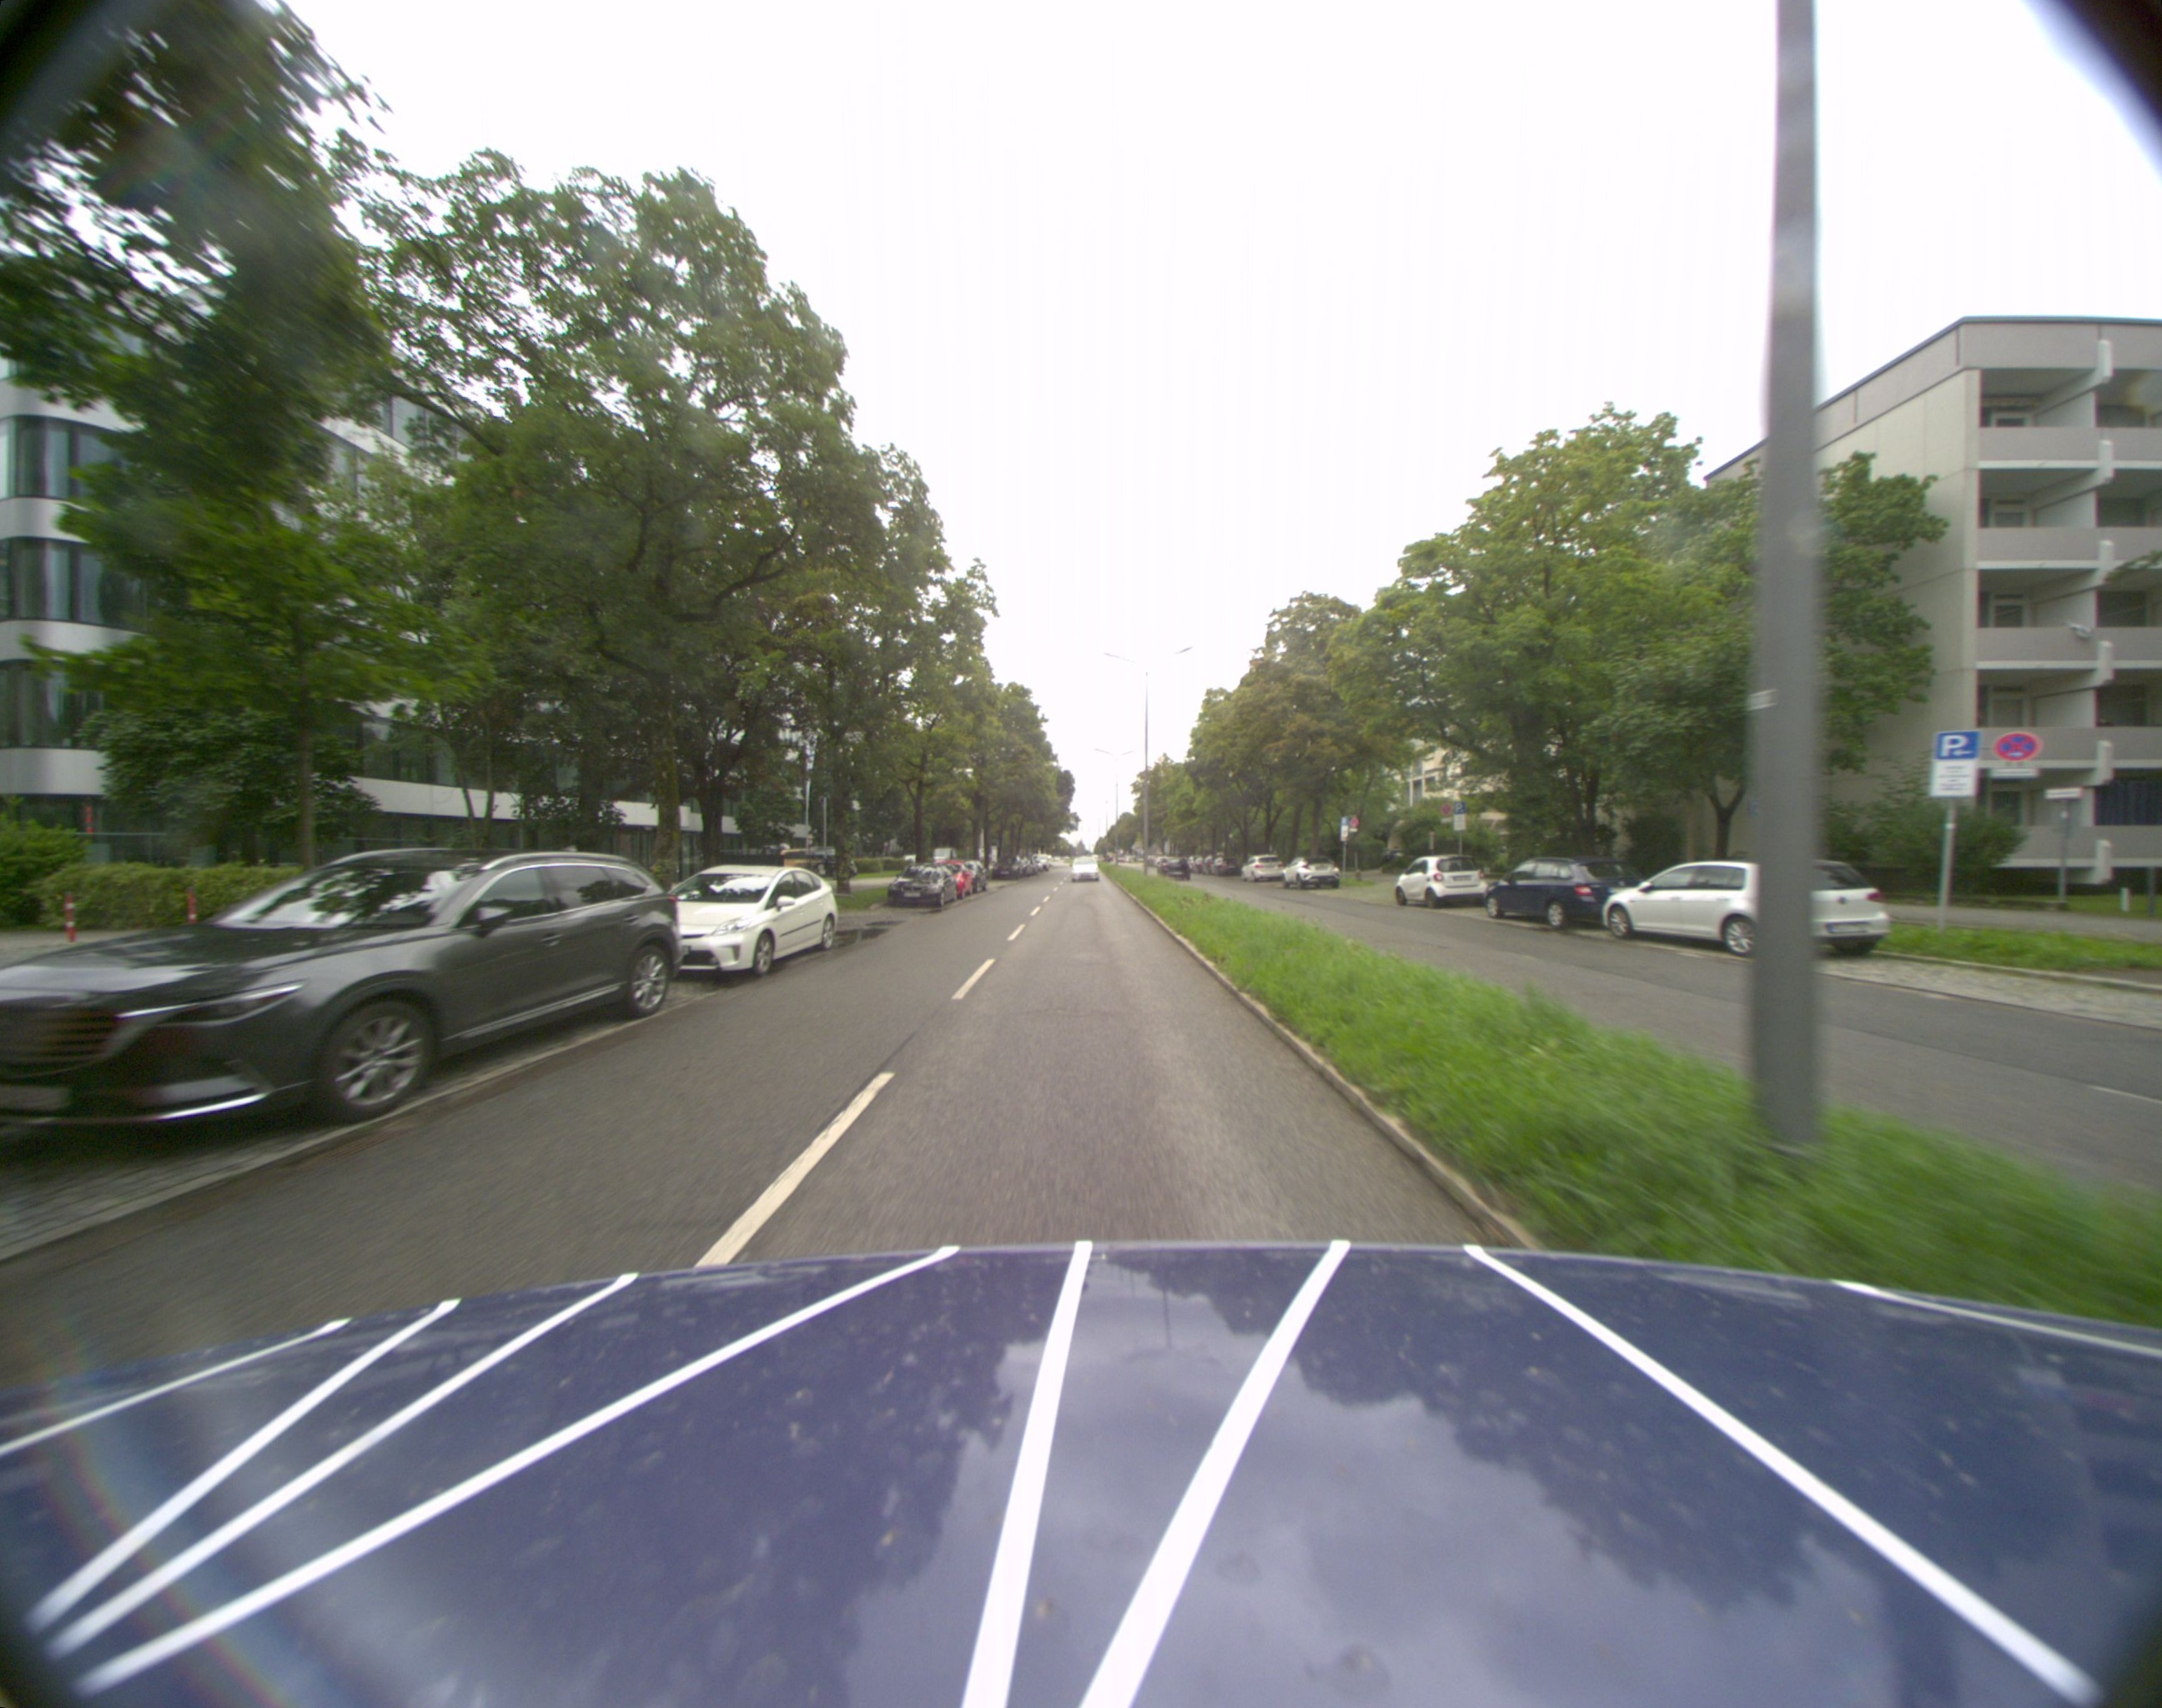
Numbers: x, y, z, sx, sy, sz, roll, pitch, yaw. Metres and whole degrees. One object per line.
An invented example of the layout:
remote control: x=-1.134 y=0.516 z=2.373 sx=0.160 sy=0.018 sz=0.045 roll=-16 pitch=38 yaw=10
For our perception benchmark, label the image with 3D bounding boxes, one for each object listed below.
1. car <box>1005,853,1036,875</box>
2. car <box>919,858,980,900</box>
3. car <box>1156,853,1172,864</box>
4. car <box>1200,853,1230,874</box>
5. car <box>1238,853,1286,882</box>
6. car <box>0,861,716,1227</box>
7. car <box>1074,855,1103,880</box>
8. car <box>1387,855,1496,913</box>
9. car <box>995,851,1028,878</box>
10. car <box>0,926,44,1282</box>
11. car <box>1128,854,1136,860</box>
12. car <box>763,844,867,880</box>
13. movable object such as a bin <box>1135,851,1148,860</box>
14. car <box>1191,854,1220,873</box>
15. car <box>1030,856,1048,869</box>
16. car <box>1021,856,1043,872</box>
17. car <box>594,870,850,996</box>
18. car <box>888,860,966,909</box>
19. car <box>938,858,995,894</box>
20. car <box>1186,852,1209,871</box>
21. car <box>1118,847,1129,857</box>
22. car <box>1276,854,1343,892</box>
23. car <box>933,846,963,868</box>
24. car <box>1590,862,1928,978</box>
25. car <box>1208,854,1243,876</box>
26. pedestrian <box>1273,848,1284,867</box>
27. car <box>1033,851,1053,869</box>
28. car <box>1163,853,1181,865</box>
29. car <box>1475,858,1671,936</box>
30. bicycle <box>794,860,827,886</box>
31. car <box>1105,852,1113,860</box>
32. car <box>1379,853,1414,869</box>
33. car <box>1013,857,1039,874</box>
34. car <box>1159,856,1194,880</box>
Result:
car: x=-4.757 y=0.790 z=60.181 sx=1.817 sy=1.666 sz=4.800 roll=0 pitch=0 yaw=3
car: x=-5.214 y=0.953 z=30.567 sx=1.679 sy=1.492 sz=4.021 roll=1 pitch=0 yaw=0
car: x=11.586 y=0.643 z=106.413 sx=1.743 sy=1.521 sz=4.475 roll=-2 pitch=0 yaw=1
car: x=11.021 y=0.734 z=62.628 sx=1.689 sy=1.587 sz=4.210 roll=-3 pitch=0 yaw=1
car: x=10.837 y=0.785 z=45.802 sx=1.761 sy=1.585 sz=4.489 roll=-3 pitch=0 yaw=-1
car: x=-5.216 y=0.958 z=6.331 sx=1.765 sy=1.688 sz=5.230 roll=1 pitch=0 yaw=0
car: x=0.459 y=0.812 z=46.521 sx=1.679 sy=1.433 sz=3.734 roll=0 pitch=0 yaw=1
car: x=10.797 y=0.846 z=22.958 sx=1.695 sy=1.556 sz=3.079 roll=-3 pitch=0 yaw=-2
car: x=-4.894 y=0.724 z=53.986 sx=1.897 sy=1.789 sz=4.861 roll=0 pitch=0 yaw=0
car: x=-5.472 y=1.051 z=1.277 sx=1.765 sy=1.498 sz=4.143 roll=1 pitch=0 yaw=0
car: x=13.124 y=0.701 z=195.167 sx=1.651 sy=1.480 sz=3.901 roll=0 pitch=0 yaw=-2
car: x=-16.071 y=0.486 z=46.106 sx=5.484 sy=2.071 sz=2.147 roll=0 pitch=0 yaw=0
movable object such as a bin: x=13.746 y=0.329 z=171.892 sx=2.199 sy=1.941 sz=3.998 roll=0 pitch=0 yaw=-5
car: x=11.124 y=0.804 z=68.022 sx=1.720 sy=1.515 sz=5.034 roll=-3 pitch=0 yaw=0
car: x=-4.567 y=0.943 z=83.157 sx=1.706 sy=1.389 sz=4.233 roll=0 pitch=0 yaw=1
car: x=-4.589 y=0.951 z=71.503 sx=1.706 sy=1.413 sz=4.121 roll=0 pitch=0 yaw=1
car: x=-5.236 y=1.038 z=11.896 sx=1.765 sy=1.445 sz=4.632 roll=1 pitch=0 yaw=0
car: x=-5.176 y=0.967 z=26.143 sx=1.679 sy=1.445 sz=4.582 roll=1 pitch=0 yaw=0
car: x=-5.188 y=0.977 z=35.029 sx=1.783 sy=1.502 sz=4.285 roll=1 pitch=0 yaw=2
car: x=11.200 y=0.700 z=73.370 sx=1.629 sy=1.638 sz=3.867 roll=-3 pitch=0 yaw=1
car: x=10.109 y=-0.467 z=181.432 sx=2.215 sy=2.181 sz=5.799 roll=0 pitch=0 yaw=0
car: x=10.691 y=0.832 z=35.832 sx=1.837 sy=1.600 sz=4.491 roll=-3 pitch=0 yaw=1
car: x=-14.363 y=0.309 z=82.276 sx=2.271 sy=2.293 sz=6.267 roll=0 pitch=0 yaw=-1
car: x=10.619 y=0.916 z=12.437 sx=1.678 sy=1.434 sz=4.320 roll=-3 pitch=0 yaw=1
car: x=10.971 y=0.820 z=57.876 sx=1.764 sy=1.504 sz=4.948 roll=-3 pitch=0 yaw=1
pedestrian: x=17.218 y=0.344 z=66.224 sx=0.850 sy=1.646 sz=0.609 roll=0 pitch=1 yaw=4
car: x=-4.438 y=0.678 z=89.491 sx=1.992 sy=2.145 sz=5.555 roll=0 pitch=0 yaw=1
car: x=11.559 y=0.602 z=96.662 sx=1.741 sy=1.440 sz=4.822 roll=-3 pitch=0 yaw=0
car: x=10.692 y=0.858 z=16.943 sx=1.678 sy=1.467 sz=4.215 roll=0 pitch=0 yaw=1
bicycle: x=-12.685 y=0.881 z=35.719 sx=0.750 sy=1.176 sz=2.246 roll=0 pitch=0 yaw=0
car: x=7.024 y=0.448 z=190.116 sx=1.785 sy=2.017 sz=4.818 roll=0 pitch=0 yaw=0
car: x=24.474 y=0.535 z=59.051 sx=1.459 sy=1.192 sz=3.127 roll=-1 pitch=0 yaw=1
car: x=-4.741 y=0.978 z=65.811 sx=1.705 sy=1.400 sz=4.513 roll=0 pitch=0 yaw=3
car: x=5.958 y=0.861 z=47.803 sx=1.743 sy=1.432 sz=4.215 roll=0 pitch=0 yaw=1
